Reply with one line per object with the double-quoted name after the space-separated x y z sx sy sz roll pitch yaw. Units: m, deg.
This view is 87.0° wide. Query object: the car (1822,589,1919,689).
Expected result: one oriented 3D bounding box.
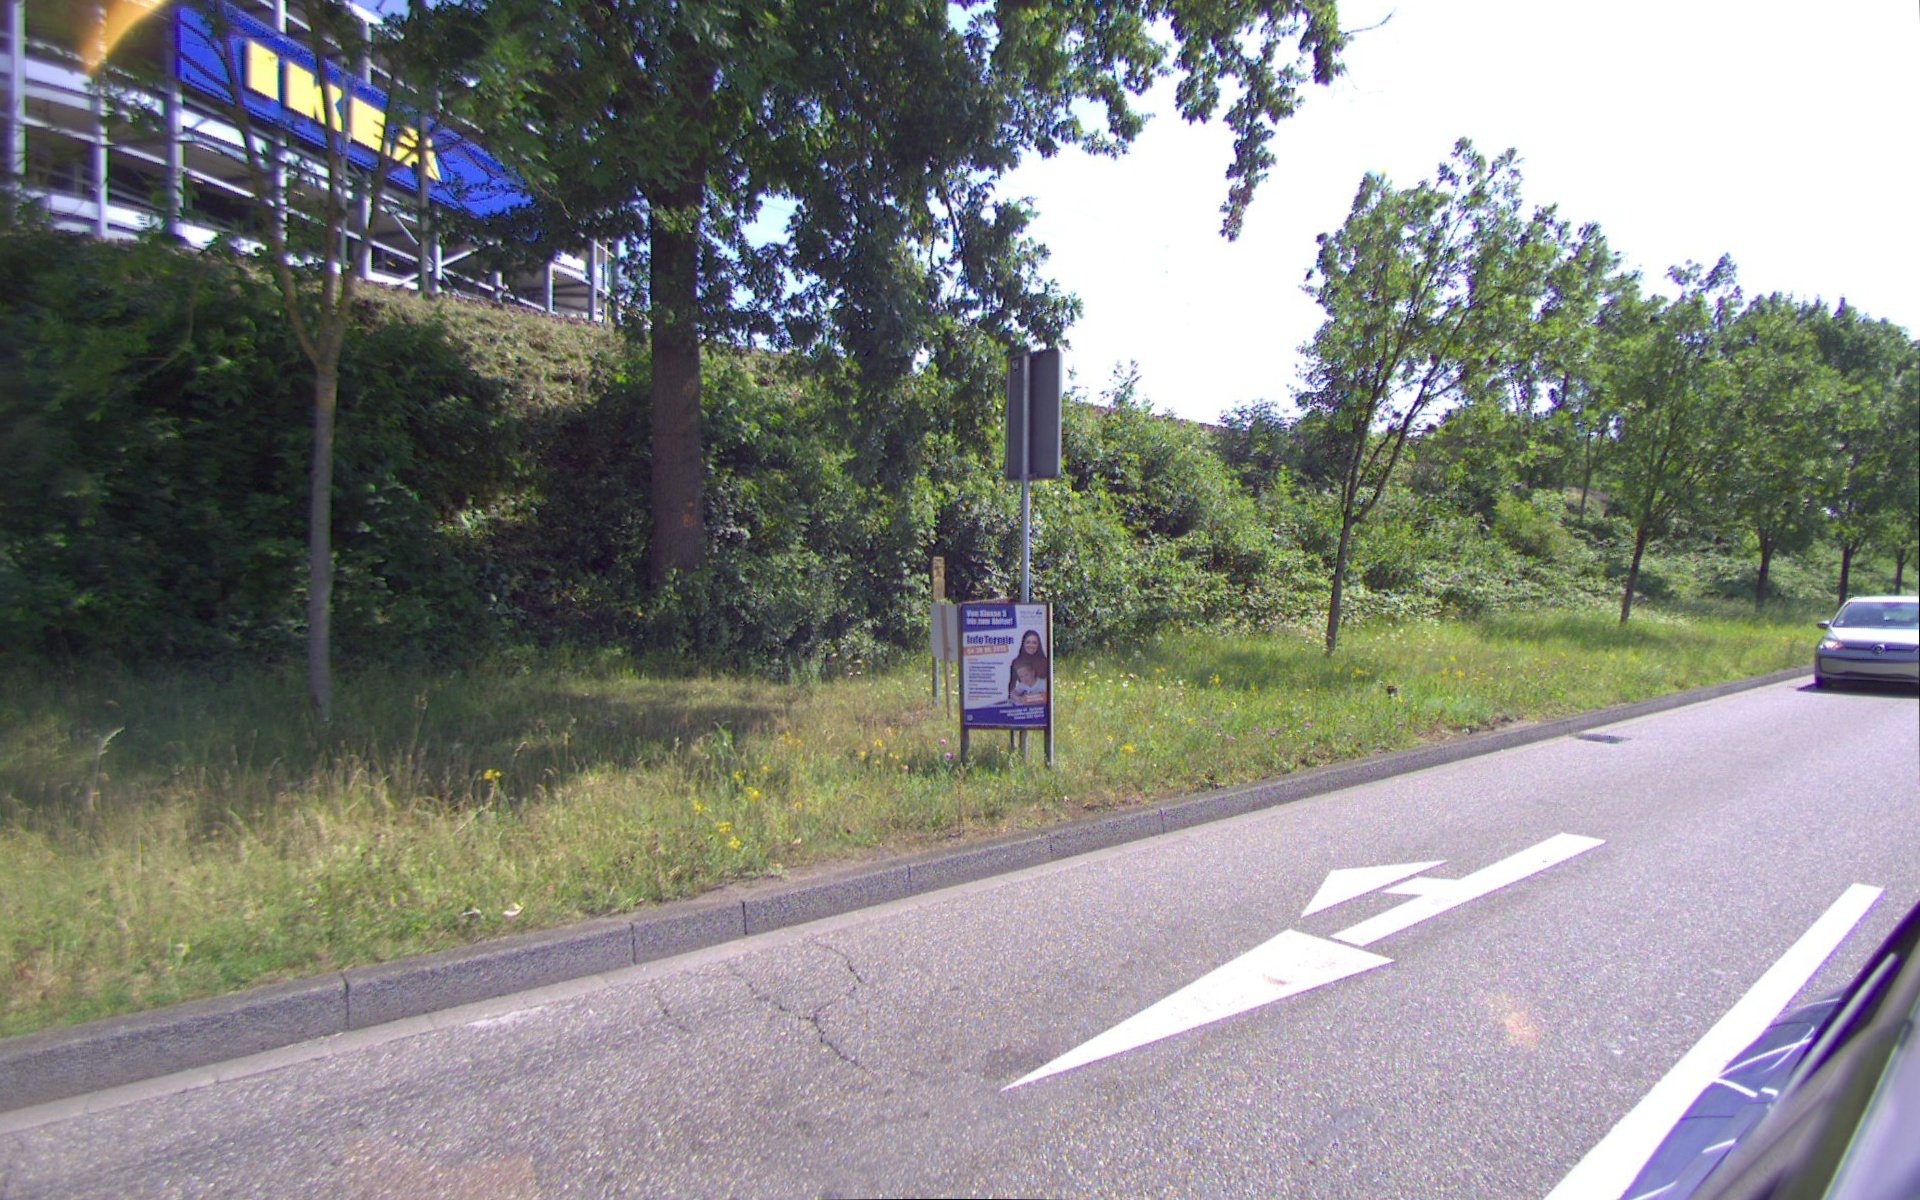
15.058 0.549 16.117 3.618 1.455 1.702 -1 1 -44 "car"
